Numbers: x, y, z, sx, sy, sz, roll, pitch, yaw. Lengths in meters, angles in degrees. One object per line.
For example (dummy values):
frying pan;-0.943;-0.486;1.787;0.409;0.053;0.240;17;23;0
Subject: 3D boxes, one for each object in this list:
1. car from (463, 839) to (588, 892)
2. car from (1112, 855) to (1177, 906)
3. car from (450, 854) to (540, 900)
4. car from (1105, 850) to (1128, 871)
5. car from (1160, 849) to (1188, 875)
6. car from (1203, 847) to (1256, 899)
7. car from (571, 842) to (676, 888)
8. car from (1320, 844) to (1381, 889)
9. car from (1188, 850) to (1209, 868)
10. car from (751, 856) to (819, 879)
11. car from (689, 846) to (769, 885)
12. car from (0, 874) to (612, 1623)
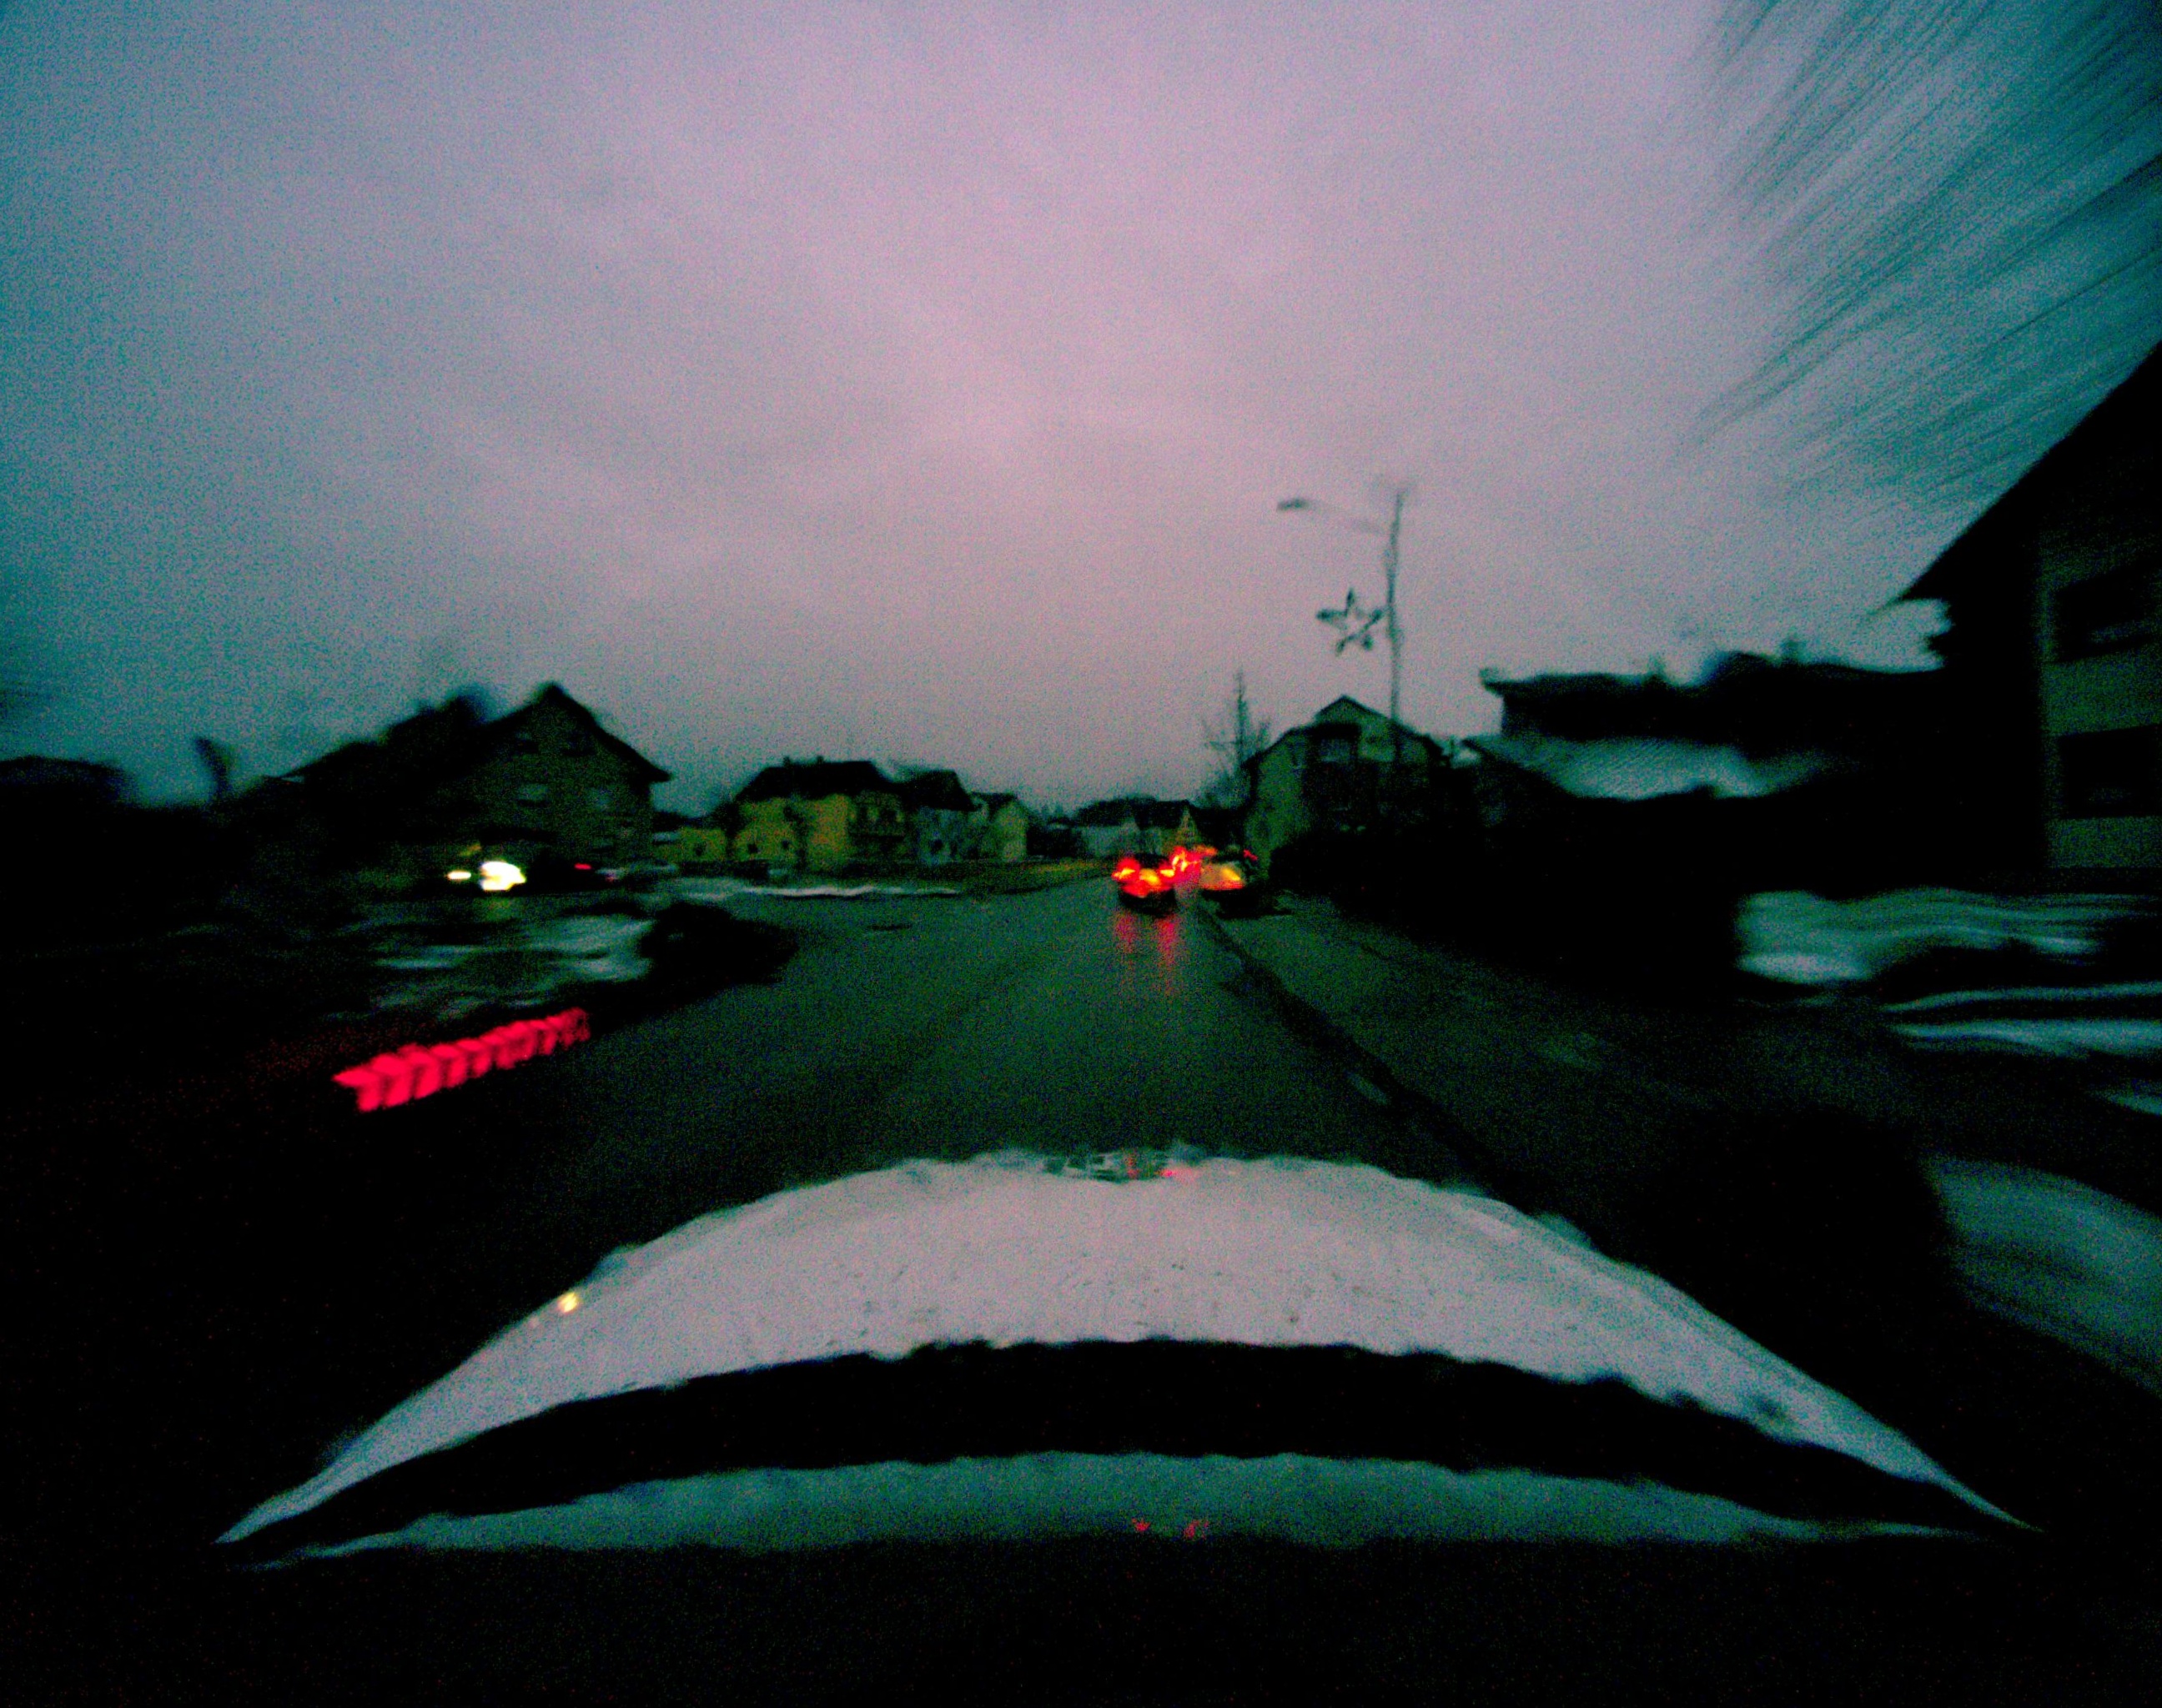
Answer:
car;-22.772;0.427;33.590;1.905;2.013;4.014;1;0;12
car;2.120;0.832;26.738;1.984;1.525;4.006;0;-1;5
car;-20.187;0.751;28.238;1.393;1.437;4.307;1;0;-20
car;3.677;0.668;82.952;1.983;2.014;4.007;0;-1;7
car;7.610;0.697;66.267;1.981;2.014;4.012;0;-1;11
car;5.608;0.673;31.152;1.735;1.785;4.346;-2;0;8
car;-21.634;0.500;38.695;1.980;2.013;4.237;1;0;12
car;10.204;0.454;31.086;1.954;1.583;4.353;-1;0;15
car;13.647;0.616;94.164;1.979;2.014;4.014;0;-1;14
car;-18.706;0.850;51.700;1.979;1.307;4.129;2;0;15
car;-19.786;0.627;45.968;1.979;2.013;4.016;2;0;15
car;-3.242;0.845;1.248;1.896;1.488;4.579;-1;0;8
